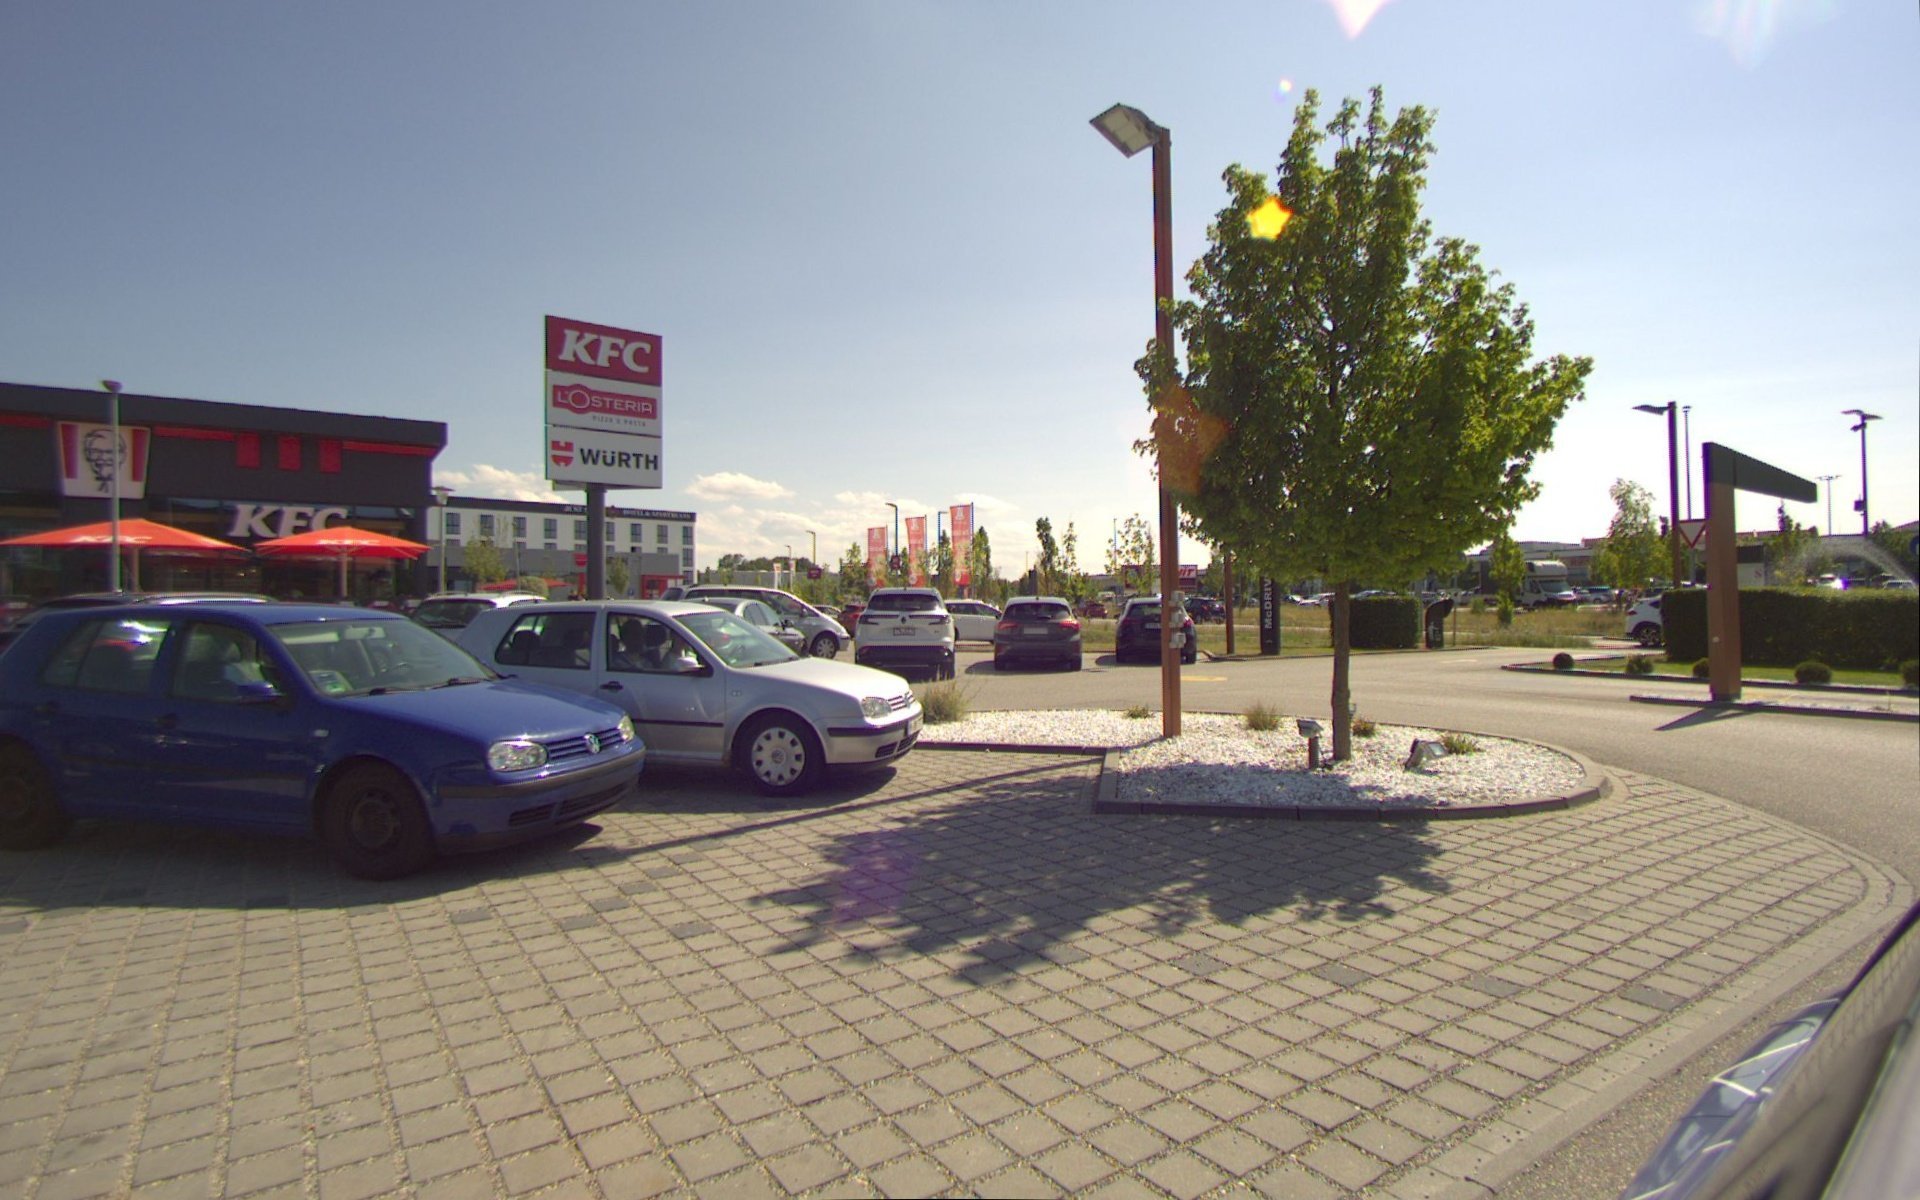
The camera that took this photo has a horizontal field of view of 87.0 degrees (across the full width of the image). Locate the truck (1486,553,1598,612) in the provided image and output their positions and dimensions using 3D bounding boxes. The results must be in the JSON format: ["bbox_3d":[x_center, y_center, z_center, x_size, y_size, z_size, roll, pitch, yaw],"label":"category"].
[{"bbox_3d":[36.020,-1.073,62.970,2.376,3.394,7.568,-1,0,-1],"label":"truck"}]

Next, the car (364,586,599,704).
[{"bbox_3d":[-7.086,0.593,15.536,1.744,1.530,4.354,-1,0,-3],"label":"car"}]

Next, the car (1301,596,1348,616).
[{"bbox_3d":[29.340,0.475,81.416,3.155,1.576,1.543,-1,0,-7],"label":"car"}]

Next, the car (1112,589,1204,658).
[{"bbox_3d":[4.483,0.506,23.353,1.881,1.440,3.766,-1,0,8],"label":"car"}]

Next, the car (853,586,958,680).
[{"bbox_3d":[-0.927,0.560,19.140,1.772,1.576,4.054,-1,0,0],"label":"car"}]

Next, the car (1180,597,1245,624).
[{"bbox_3d":[15.470,0.614,62.122,1.765,1.579,3.780,0,0,-28],"label":"car"}]

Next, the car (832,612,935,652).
[{"bbox_3d":[-3.015,1.232,40.061,3.678,1.472,1.690,0,0,-27],"label":"car"}]

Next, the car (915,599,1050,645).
[{"bbox_3d":[0.753,0.701,33.747,4.070,1.416,1.891,0,0,-27],"label":"car"}]

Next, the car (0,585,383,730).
[{"bbox_3d":[-9.620,0.601,12.715,1.797,1.508,3.976,-1,0,19],"label":"car"}]

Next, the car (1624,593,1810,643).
[{"bbox_3d":[23.467,0.539,31.512,1.703,1.440,4.321,0,0,-36],"label":"car"}]

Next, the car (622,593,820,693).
[{"bbox_3d":[-3.811,0.627,17.038,1.684,1.429,4.671,-1,0,8],"label":"car"}]

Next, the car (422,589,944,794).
[{"bbox_3d":[-2.180,0.649,8.368,3.843,1.444,1.700,0,0,12],"label":"car"}]

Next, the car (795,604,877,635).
[{"bbox_3d":[-6.101,0.933,49.758,3.678,1.472,1.690,0,0,-27],"label":"car"}]

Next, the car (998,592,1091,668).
[{"bbox_3d":[1.717,0.574,21.341,1.765,1.440,4.083,-1,0,3],"label":"car"}]

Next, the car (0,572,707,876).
[{"bbox_3d":[-4.083,0.645,6.534,4.348,1.530,1.977,-1,0,12],"label":"car"}]

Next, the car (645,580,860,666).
[{"bbox_3d":[-4.648,0.462,22.839,4.283,1.772,2.073,0,0,-34],"label":"car"}]

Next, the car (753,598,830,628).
[{"bbox_3d":[-8.964,0.667,53.894,3.678,1.531,1.690,0,0,-27],"label":"car"}]

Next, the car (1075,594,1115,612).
[{"bbox_3d":[11.594,0.237,86.977,1.724,1.482,4.008,0,0,-21],"label":"car"}]

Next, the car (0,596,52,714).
[{"bbox_3d":[-12.513,0.669,10.890,1.788,1.421,3.996,-1,0,3],"label":"car"}]

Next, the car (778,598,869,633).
[{"bbox_3d":[-6.079,0.670,45.038,3.678,1.472,1.690,0,0,-27],"label":"car"}]

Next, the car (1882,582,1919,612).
[{"bbox_3d":[56.700,-0.199,59.001,4.173,1.750,1.895,-1,0,-3],"label":"car"}]
